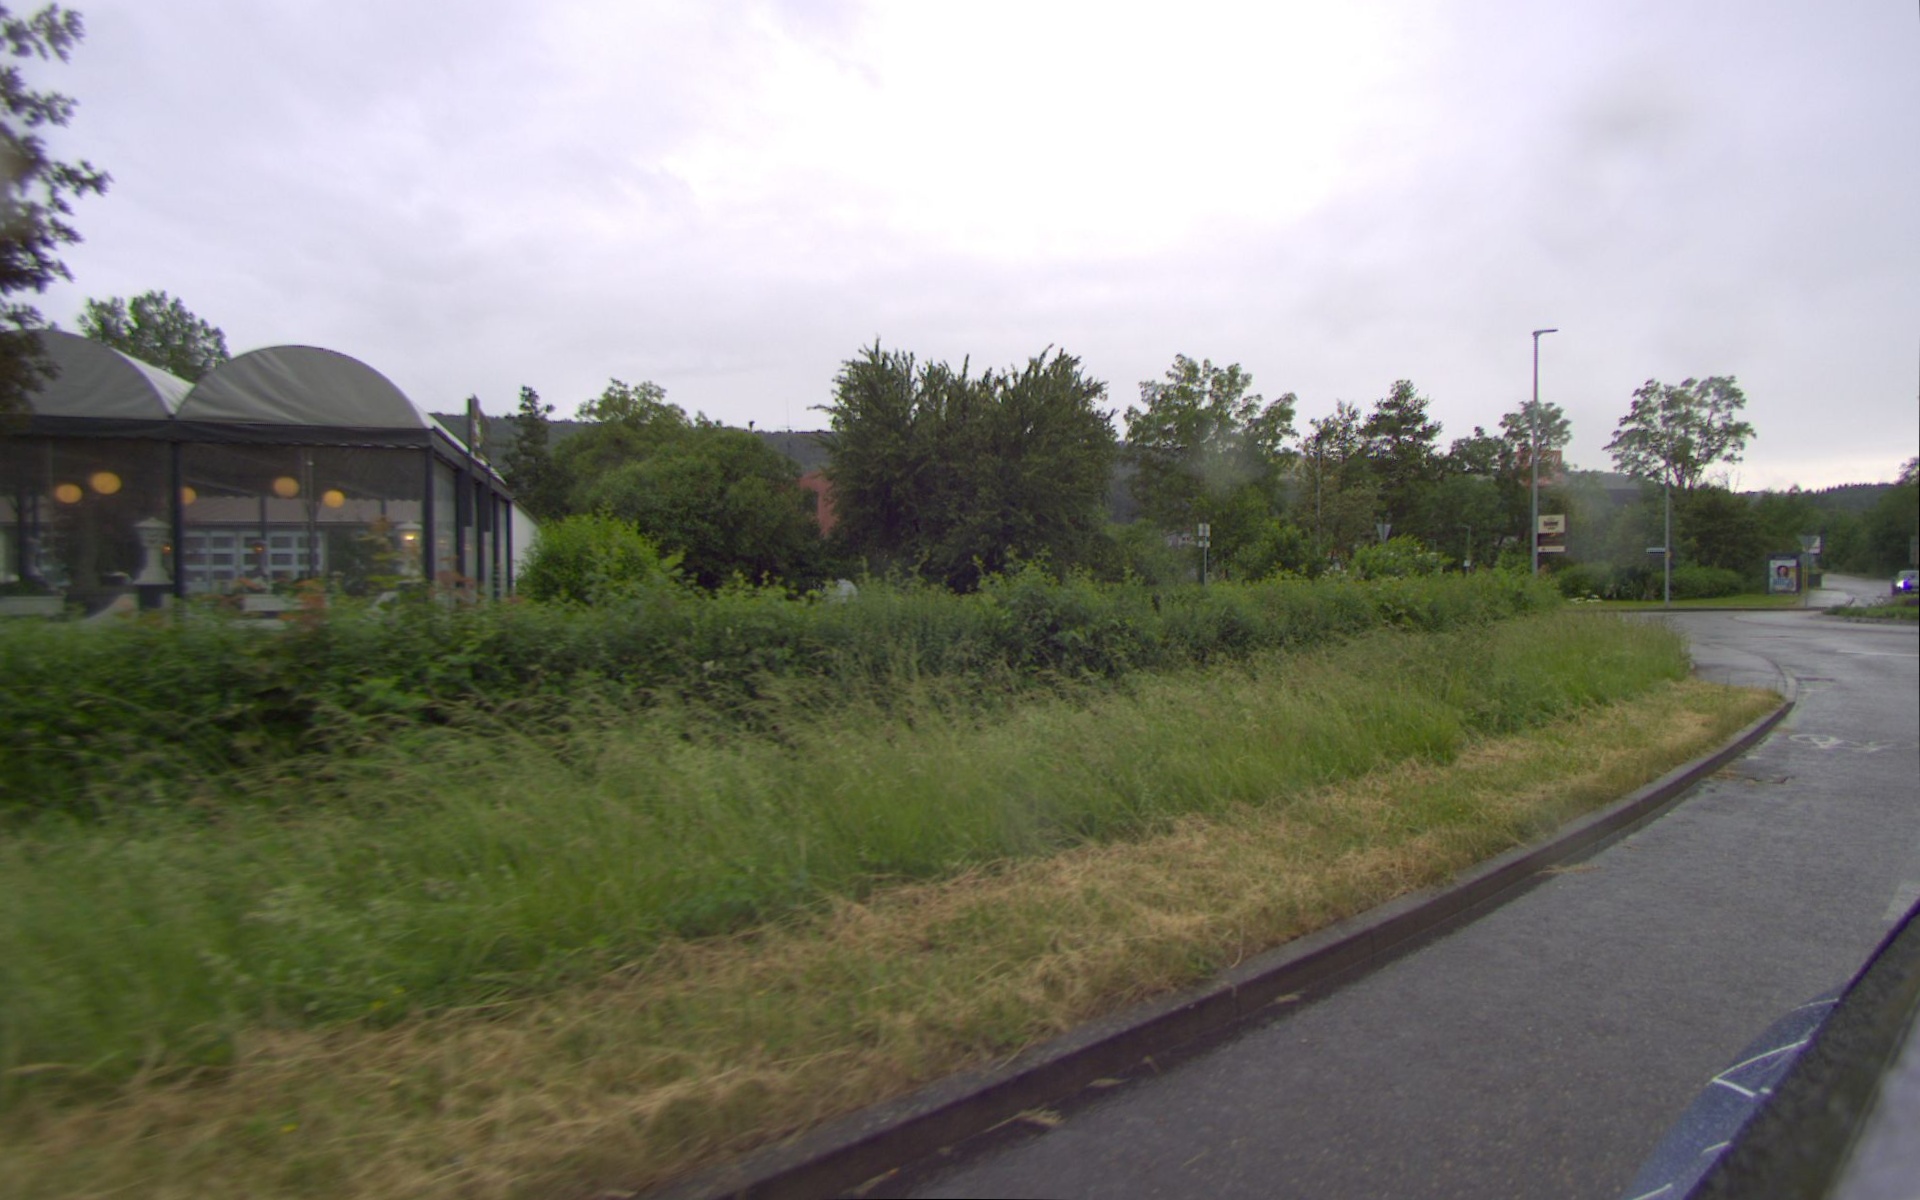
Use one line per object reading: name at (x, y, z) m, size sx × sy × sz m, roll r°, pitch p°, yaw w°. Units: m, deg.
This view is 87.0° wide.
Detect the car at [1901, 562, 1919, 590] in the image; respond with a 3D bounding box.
car at (54.018, -1.381, 56.493) m, size 1.847 × 1.508 × 4.065 m, roll 0°, pitch 2°, yaw 38°
